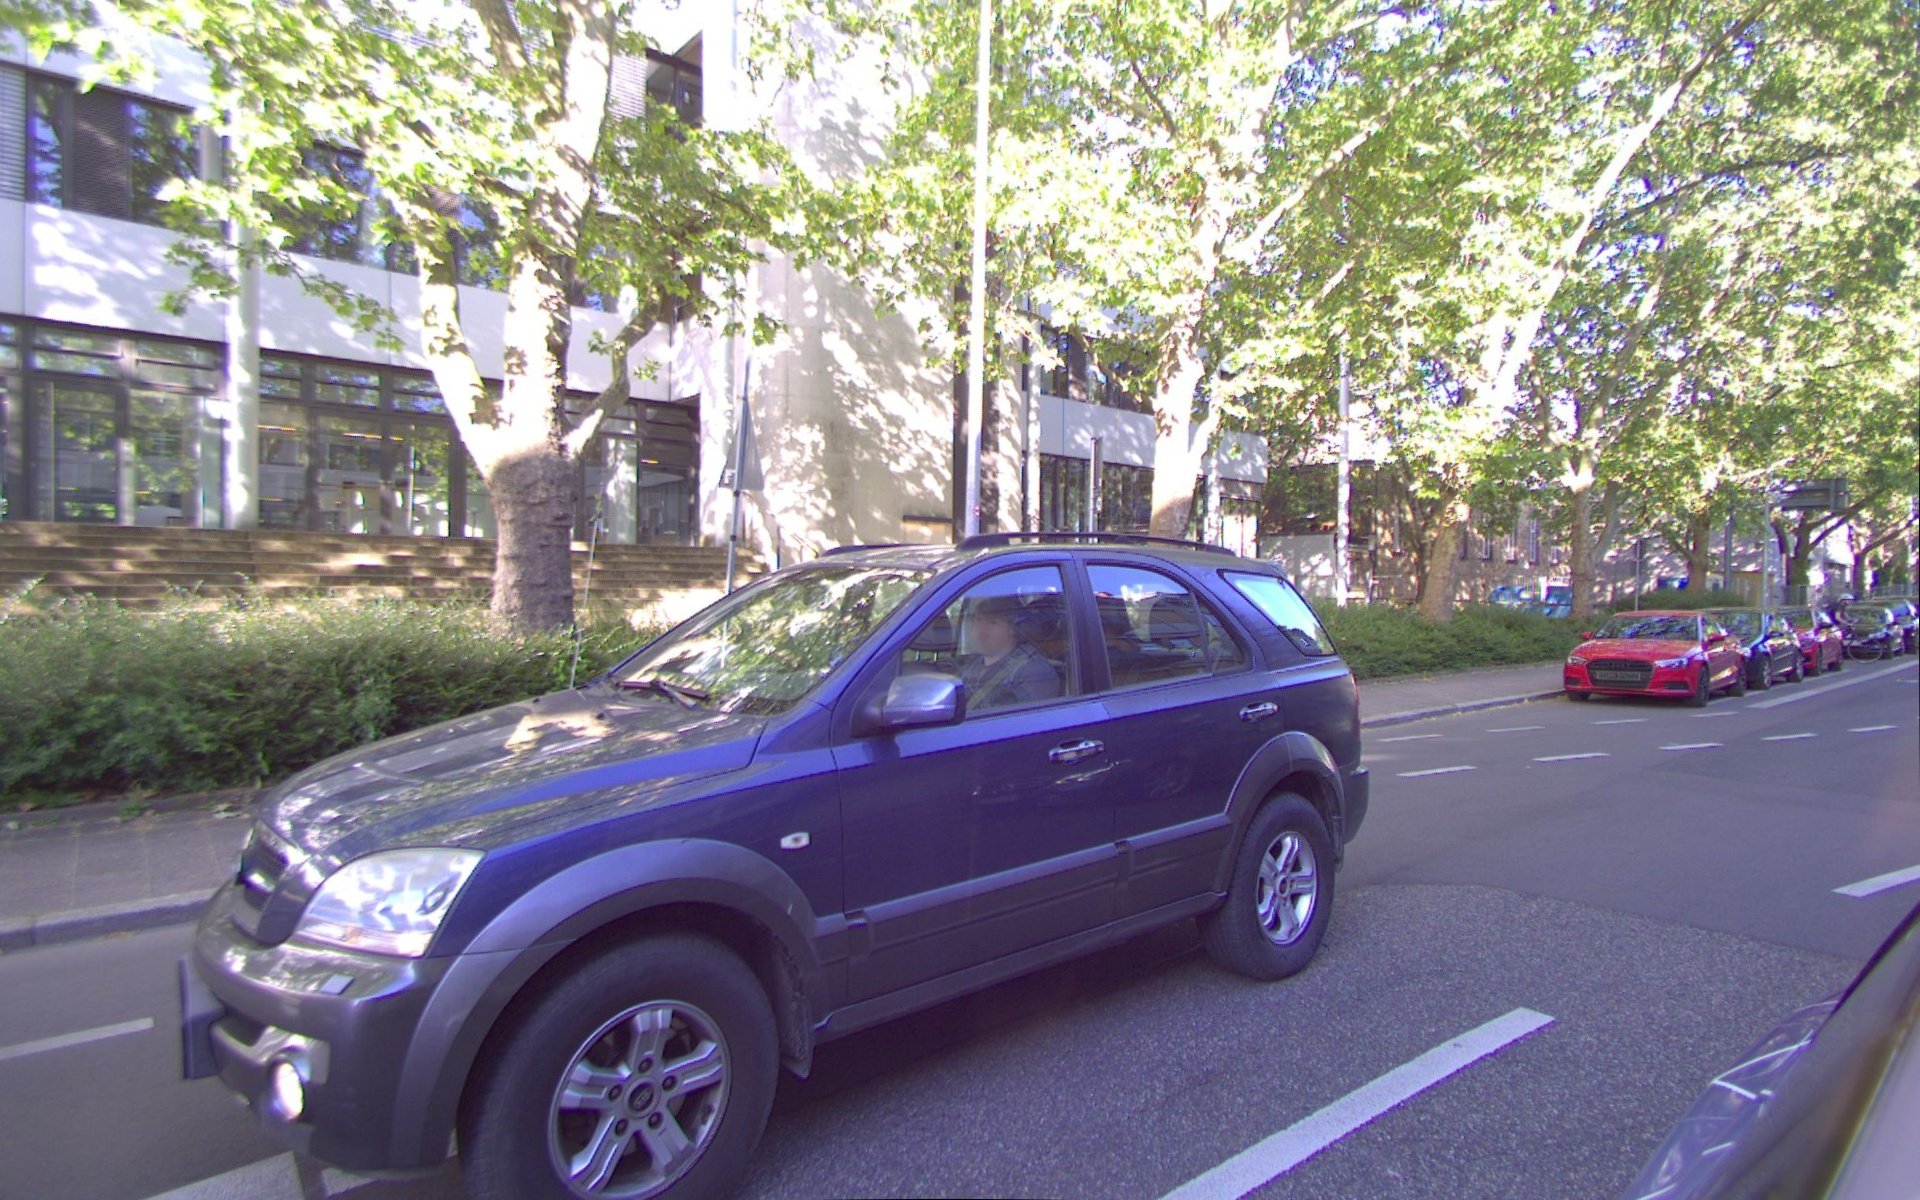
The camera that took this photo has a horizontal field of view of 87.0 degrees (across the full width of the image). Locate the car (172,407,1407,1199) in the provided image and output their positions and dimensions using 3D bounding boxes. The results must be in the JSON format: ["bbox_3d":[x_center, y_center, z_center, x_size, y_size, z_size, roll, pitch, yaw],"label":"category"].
[{"bbox_3d":[-0.232,0.565,3.835,4.306,1.793,1.784,0,-1,-40],"label":"car"}]

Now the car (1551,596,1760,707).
[{"bbox_3d":[11.188,0.730,16.182,4.071,1.548,1.827,0,-1,-42],"label":"car"}]

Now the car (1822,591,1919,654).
[{"bbox_3d":[25.972,0.583,28.755,4.022,1.653,1.739,0,1,-42],"label":"car"}]

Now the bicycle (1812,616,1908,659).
[{"bbox_3d":[23.034,0.941,25.950,1.790,1.027,0.724,0,0,39],"label":"bicycle"}]

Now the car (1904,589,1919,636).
[{"bbox_3d":[38.769,0.487,40.031,3.829,1.818,1.739,0,1,-42],"label":"car"}]

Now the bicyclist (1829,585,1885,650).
[{"bbox_3d":[23.015,0.432,25.977,1.032,1.640,0.688,0,0,39],"label":"bicyclist"}]

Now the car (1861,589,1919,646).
[{"bbox_3d":[29.735,0.507,31.845,3.840,1.708,1.633,0,1,-42],"label":"car"}]

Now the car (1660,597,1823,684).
[{"bbox_3d":[14.947,0.704,19.289,4.022,1.472,1.739,0,-1,-42],"label":"car"}]

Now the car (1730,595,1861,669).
[{"bbox_3d":[18.642,0.663,22.530,3.851,1.511,1.679,0,-1,-42],"label":"car"}]
